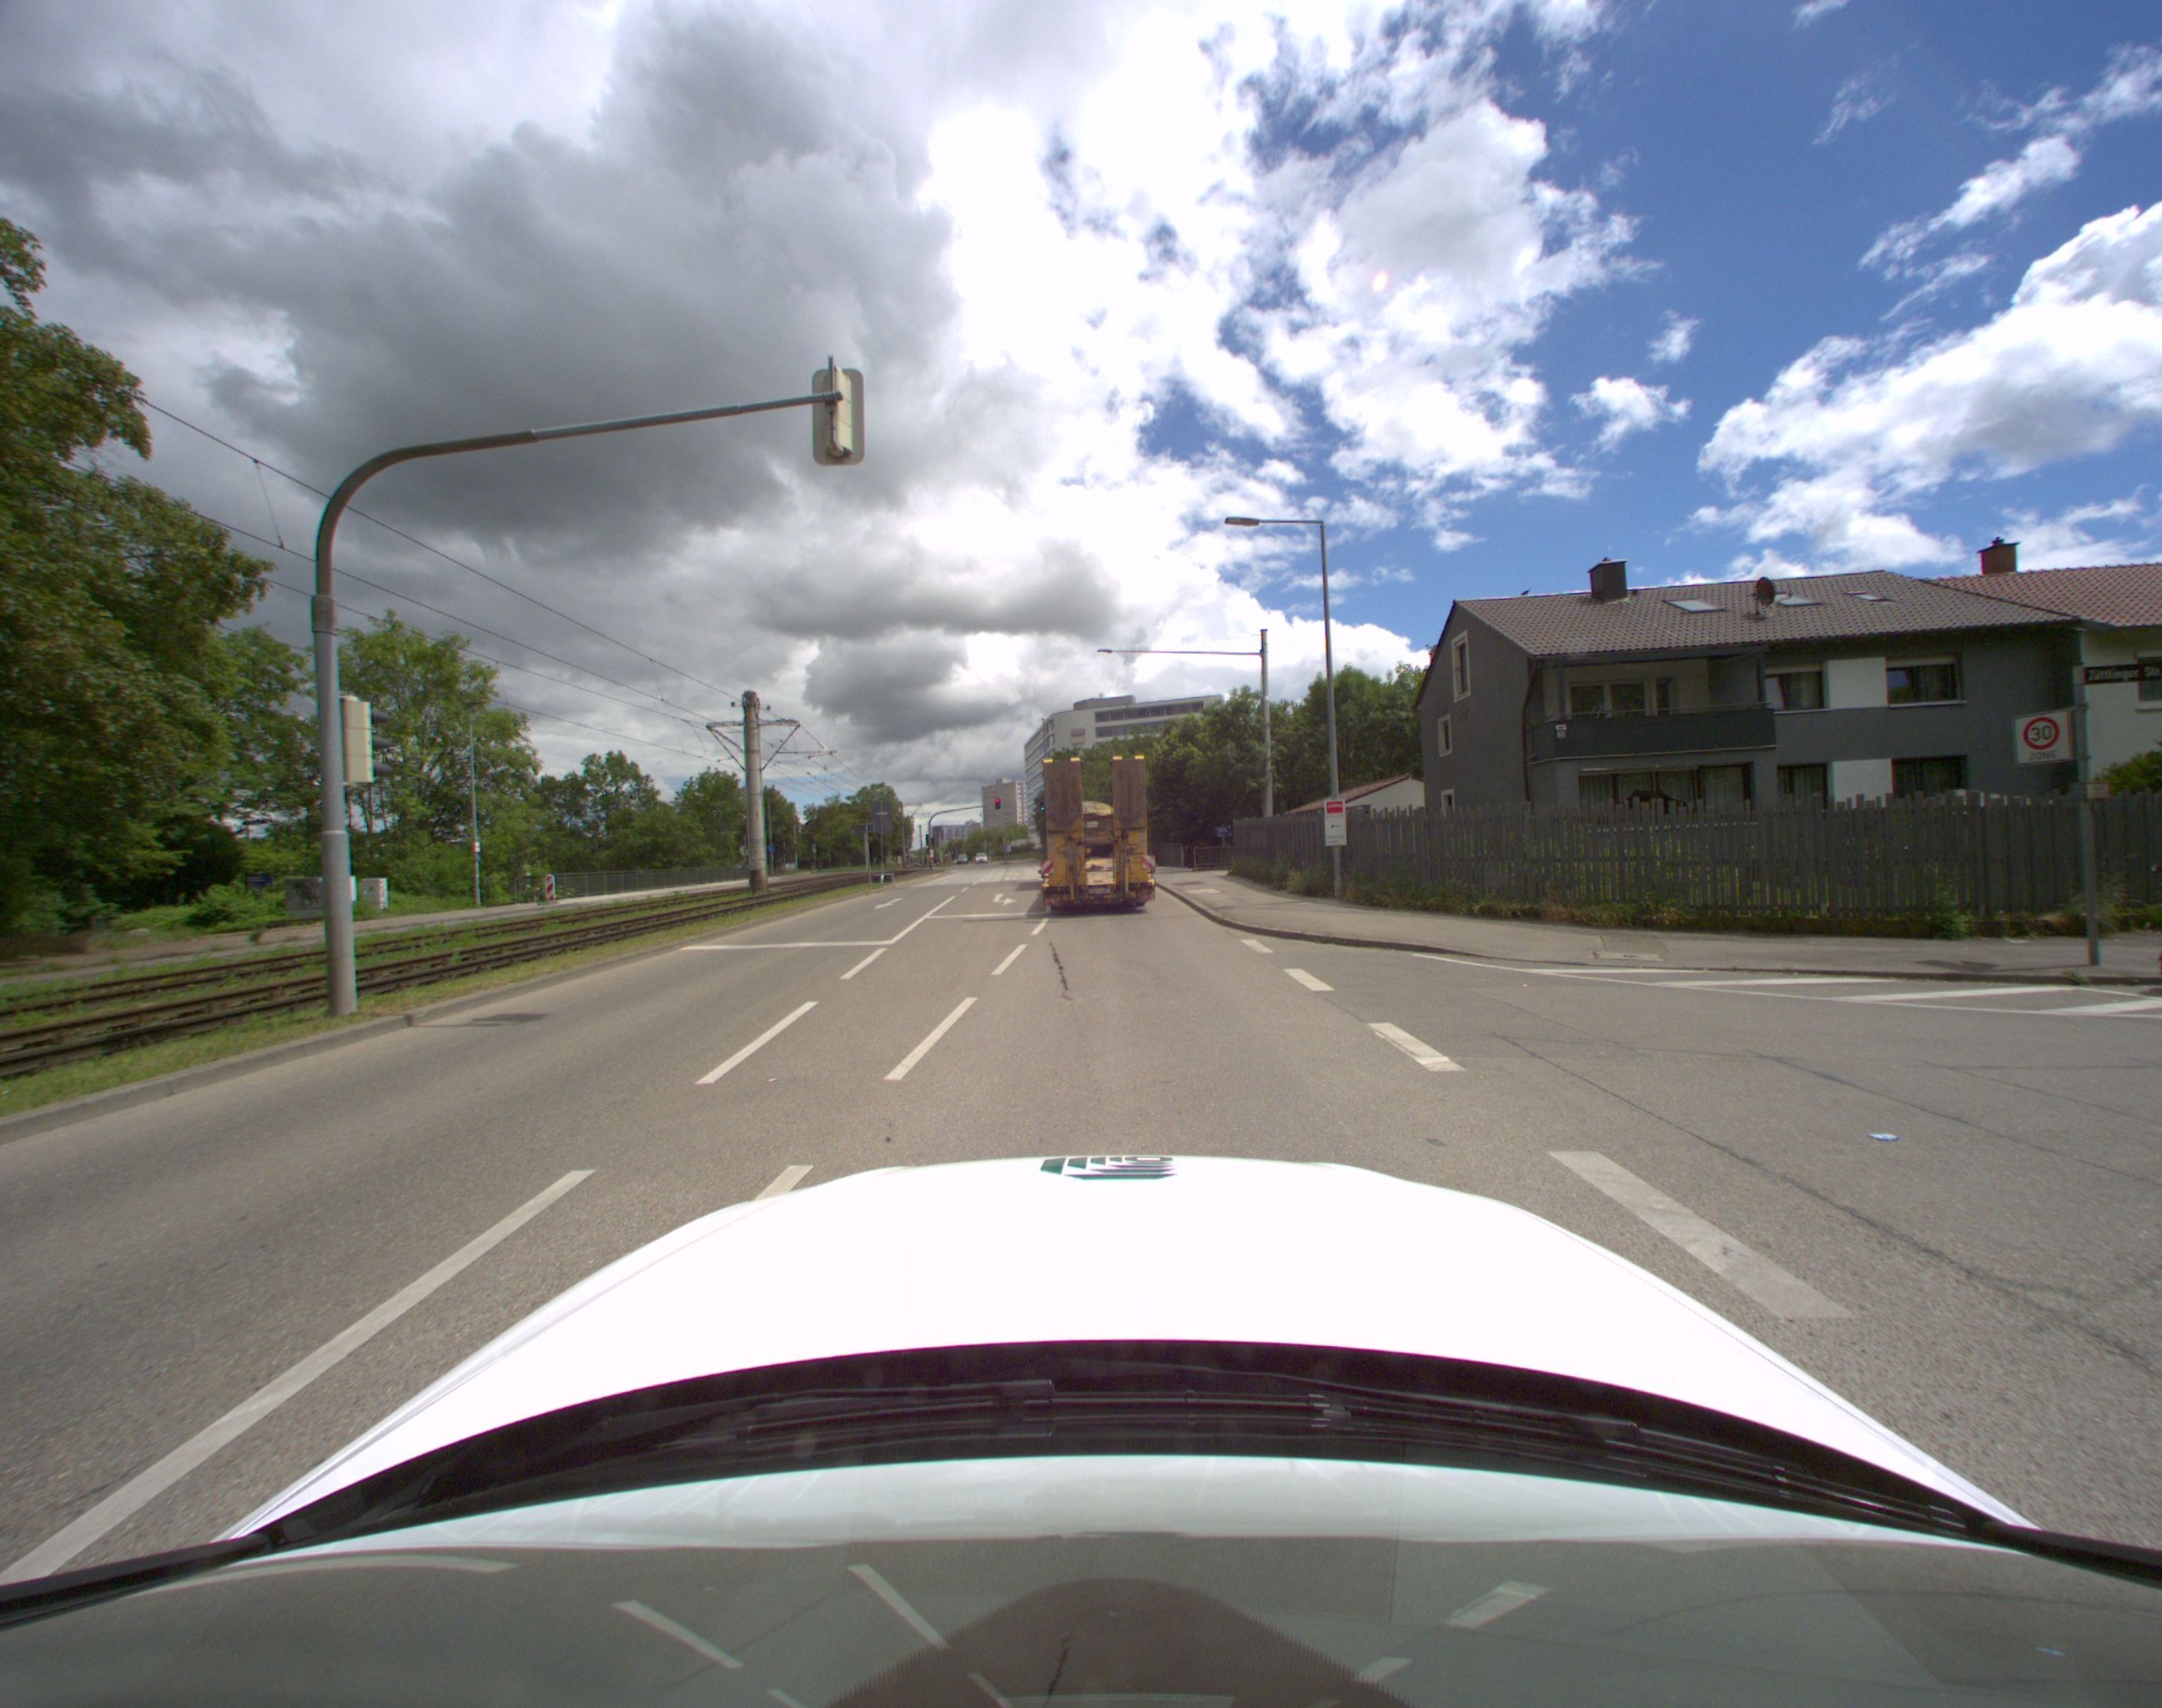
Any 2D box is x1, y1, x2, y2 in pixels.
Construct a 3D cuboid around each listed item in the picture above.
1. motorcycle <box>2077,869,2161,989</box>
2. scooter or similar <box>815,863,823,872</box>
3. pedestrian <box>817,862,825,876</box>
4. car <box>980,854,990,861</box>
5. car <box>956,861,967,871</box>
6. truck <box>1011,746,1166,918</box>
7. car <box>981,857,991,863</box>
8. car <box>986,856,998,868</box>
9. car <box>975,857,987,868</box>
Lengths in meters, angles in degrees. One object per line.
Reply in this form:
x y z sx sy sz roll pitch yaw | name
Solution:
10.819 0.742 7.630 0.653 1.149 2.436 -1 0 18 | motorcycle
-35.130 1.762 109.238 0.889 1.184 0.971 -1 -1 -5 | scooter or similar
-35.167 2.032 110.175 0.800 1.811 0.808 -1 -1 -3 | pedestrian
-19.272 0.686 163.547 1.992 1.420 3.990 -1 0 -7 | car
-19.759 2.029 134.925 1.783 1.569 4.333 -3 0 -8 | car
0.008 -0.440 24.005 3.307 3.651 12.553 -1 0 -2 | truck
-20.195 1.277 173.475 1.992 1.420 3.990 -1 0 -7 | car
-15.346 1.345 140.804 1.992 1.926 3.990 -1 0 -7 | car
-14.458 1.220 118.142 1.591 1.527 3.648 -3 0 -5 | car
